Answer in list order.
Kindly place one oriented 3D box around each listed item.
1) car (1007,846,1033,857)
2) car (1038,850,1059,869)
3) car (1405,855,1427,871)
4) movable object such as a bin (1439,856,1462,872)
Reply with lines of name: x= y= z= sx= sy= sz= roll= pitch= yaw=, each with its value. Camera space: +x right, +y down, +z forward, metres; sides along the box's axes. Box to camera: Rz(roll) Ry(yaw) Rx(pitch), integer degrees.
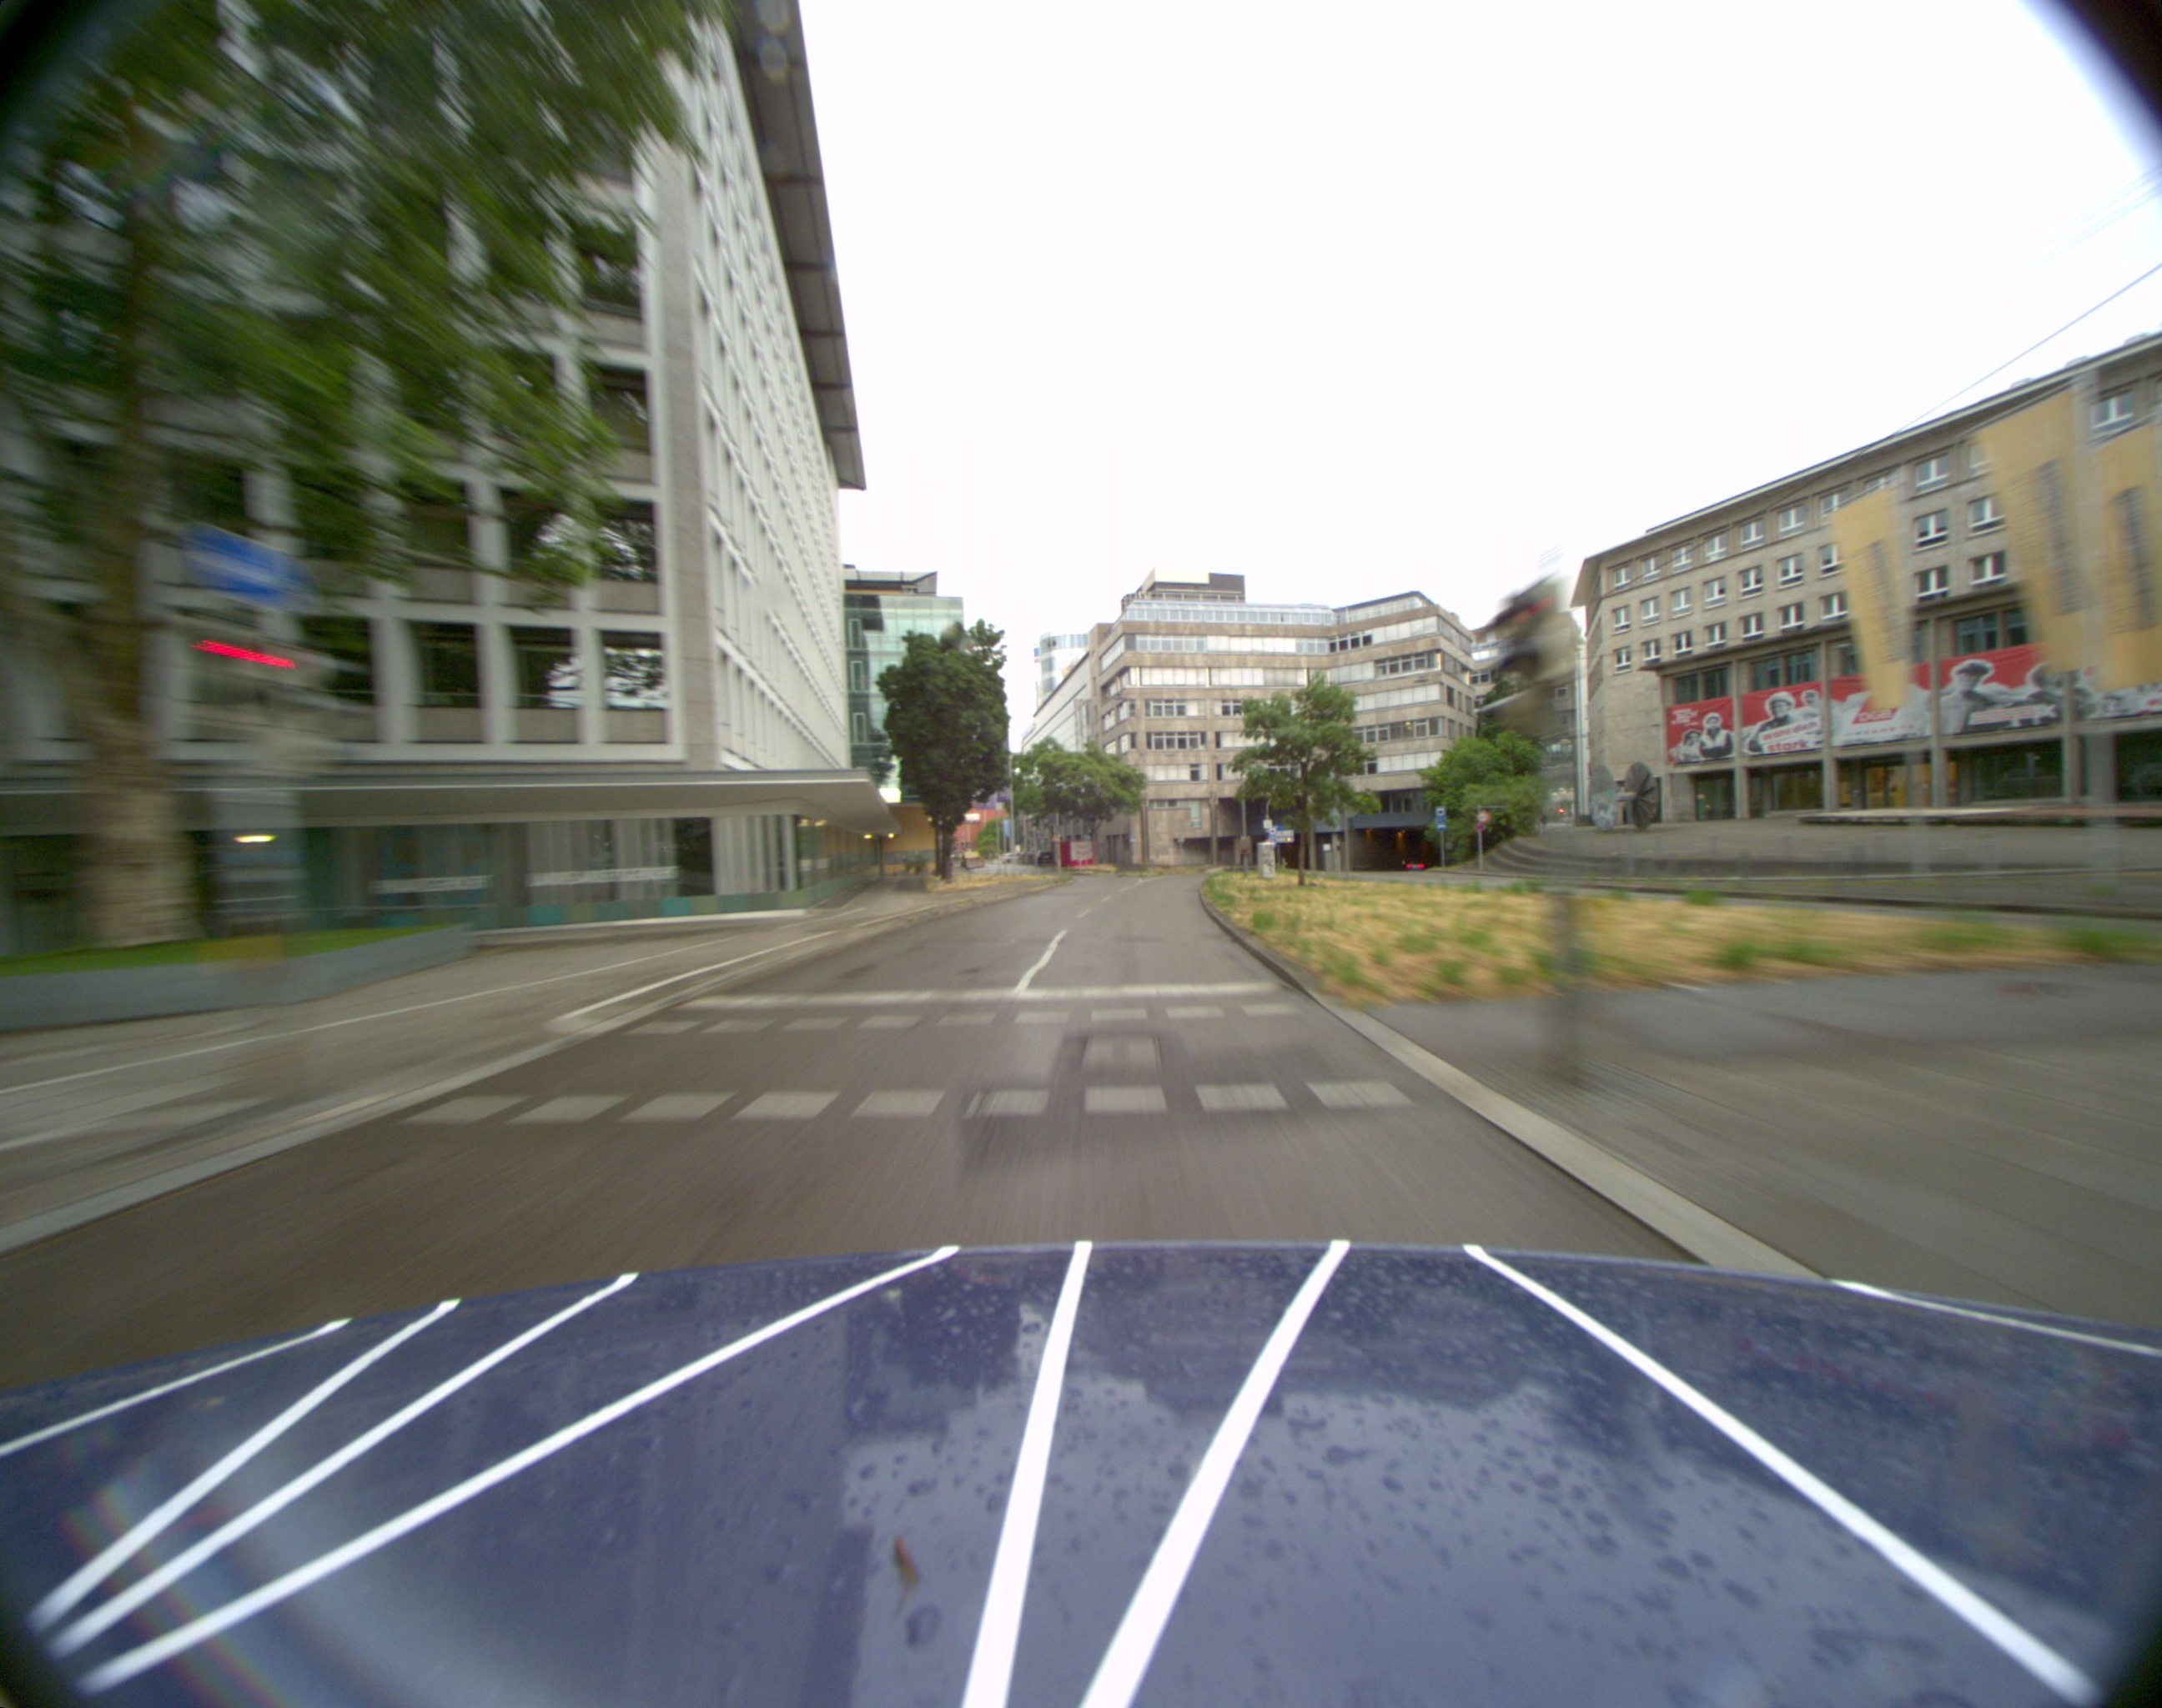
car: x=-9.879 y=-0.413 z=122.760 sx=3.776 sy=1.641 sz=1.796 roll=-1 pitch=0 yaw=-26
car: x=-3.771 y=0.631 z=88.009 sx=1.999 sy=2.068 sz=3.997 roll=-4 pitch=1 yaw=-6
car: x=35.449 y=0.936 z=80.427 sx=1.995 sy=1.484 sz=4.849 roll=-2 pitch=1 yaw=24
movable object such as a bin: x=32.878 y=0.897 z=67.641 sx=1.168 sy=1.442 sz=1.337 roll=-2 pitch=0 yaw=-22
